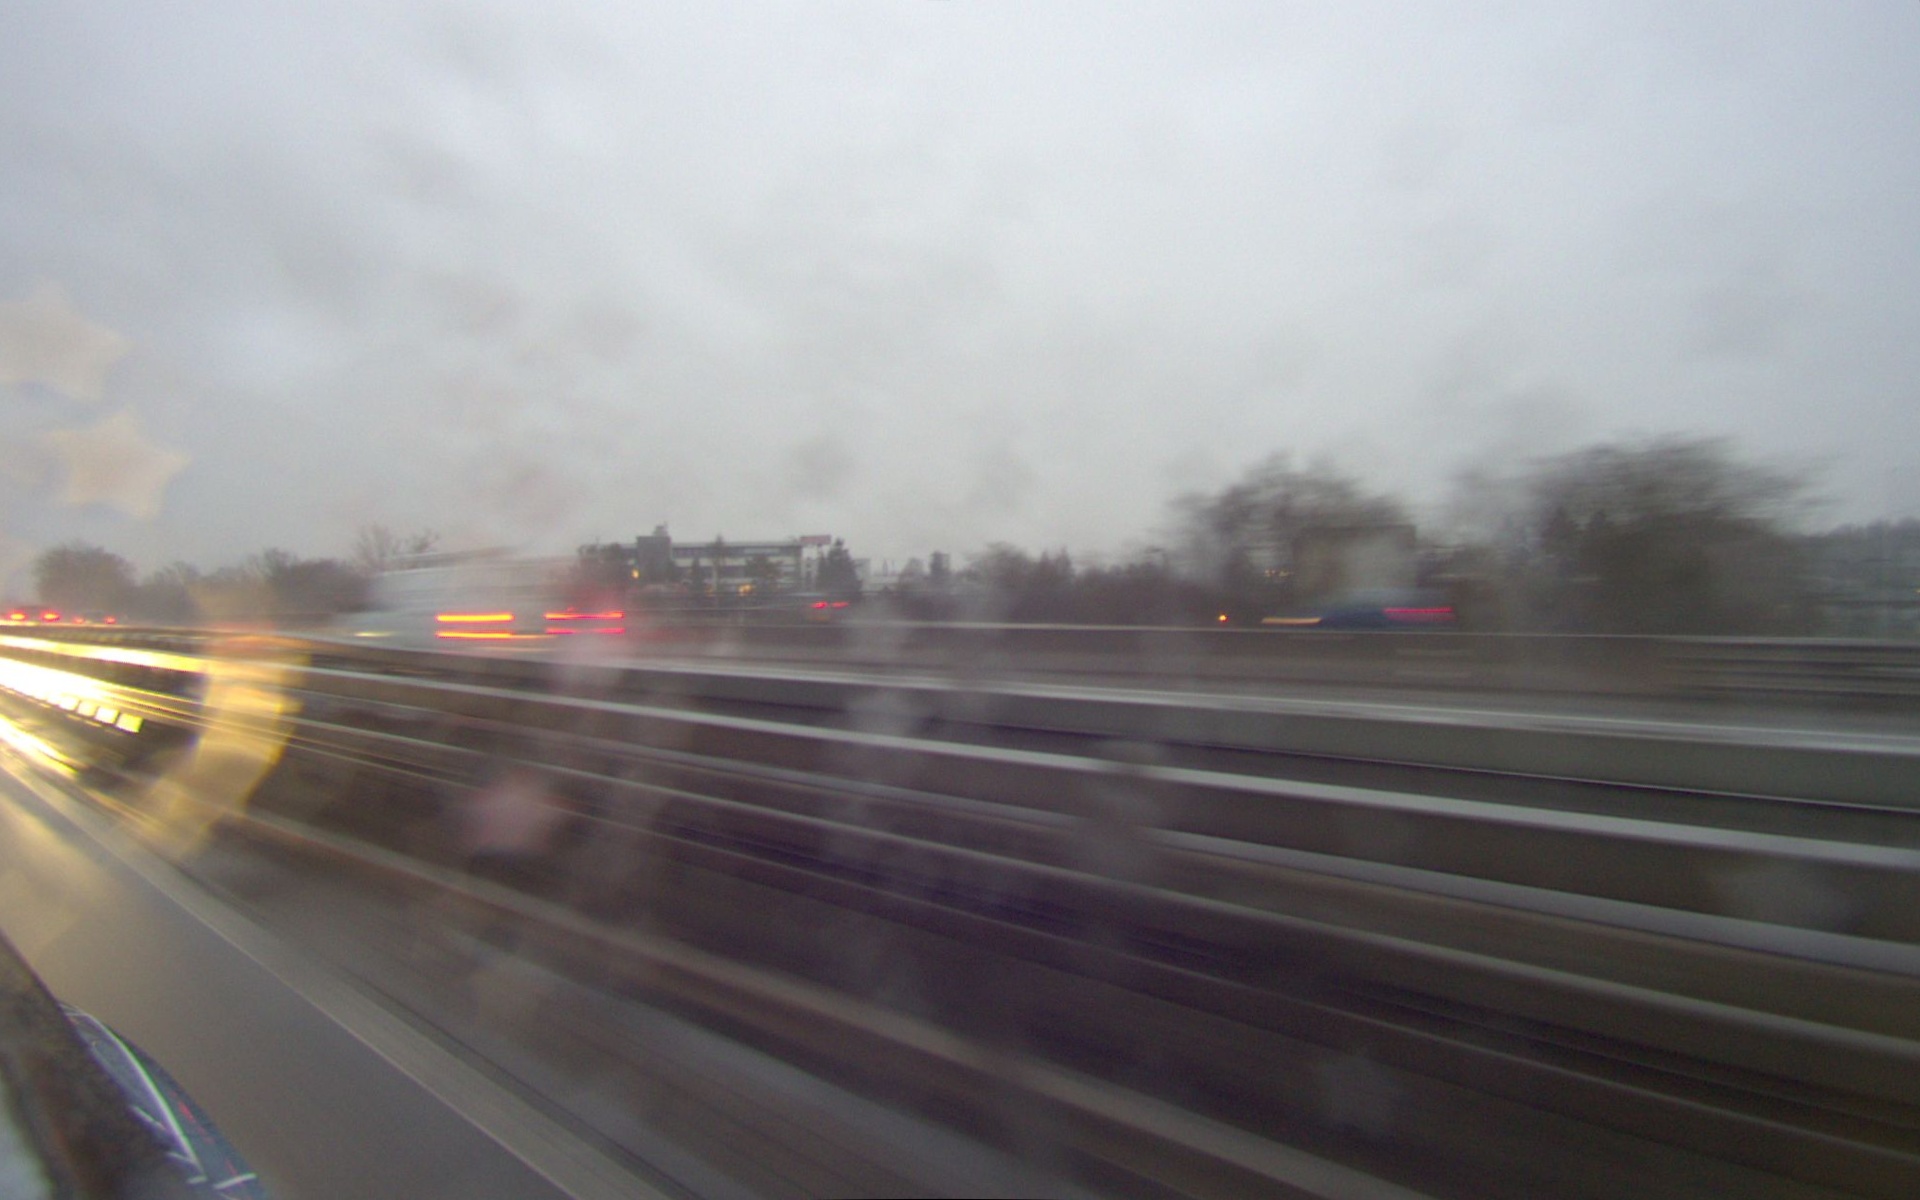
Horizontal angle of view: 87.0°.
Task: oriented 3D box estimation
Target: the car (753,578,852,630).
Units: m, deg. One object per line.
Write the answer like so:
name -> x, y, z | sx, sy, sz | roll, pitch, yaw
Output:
car -> -6.596, 0.149, 42.267 | 3.999, 2.029, 1.973 | 0, 1, 42

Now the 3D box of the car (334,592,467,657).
car -> -15.545, 0.687, 28.005 | 4.543, 1.649, 1.816 | -2, -1, 42

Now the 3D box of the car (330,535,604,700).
car -> -7.748, 0.298, 15.633 | 5.197, 2.152, 1.972 | -2, -1, 42

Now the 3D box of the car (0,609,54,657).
car -> -47.125, 1.688, 50.729 | 5.050, 2.232, 1.973 | -3, -1, 41

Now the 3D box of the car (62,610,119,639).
car -> -52.296, 1.461, 60.868 | 4.655, 1.608, 1.973 | -1, 0, 42

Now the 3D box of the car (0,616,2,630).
car -> -112.023, 2.695, 116.809 | 3.920, 1.578, 1.836 | -2, -1, 42

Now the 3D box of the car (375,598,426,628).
car -> -39.935, 0.954, 72.205 | 3.999, 2.029, 1.972 | -1, 0, 42

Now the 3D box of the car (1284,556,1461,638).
car -> 11.111, -0.064, 27.356 | 3.997, 2.029, 1.973 | -1, 0, 41
